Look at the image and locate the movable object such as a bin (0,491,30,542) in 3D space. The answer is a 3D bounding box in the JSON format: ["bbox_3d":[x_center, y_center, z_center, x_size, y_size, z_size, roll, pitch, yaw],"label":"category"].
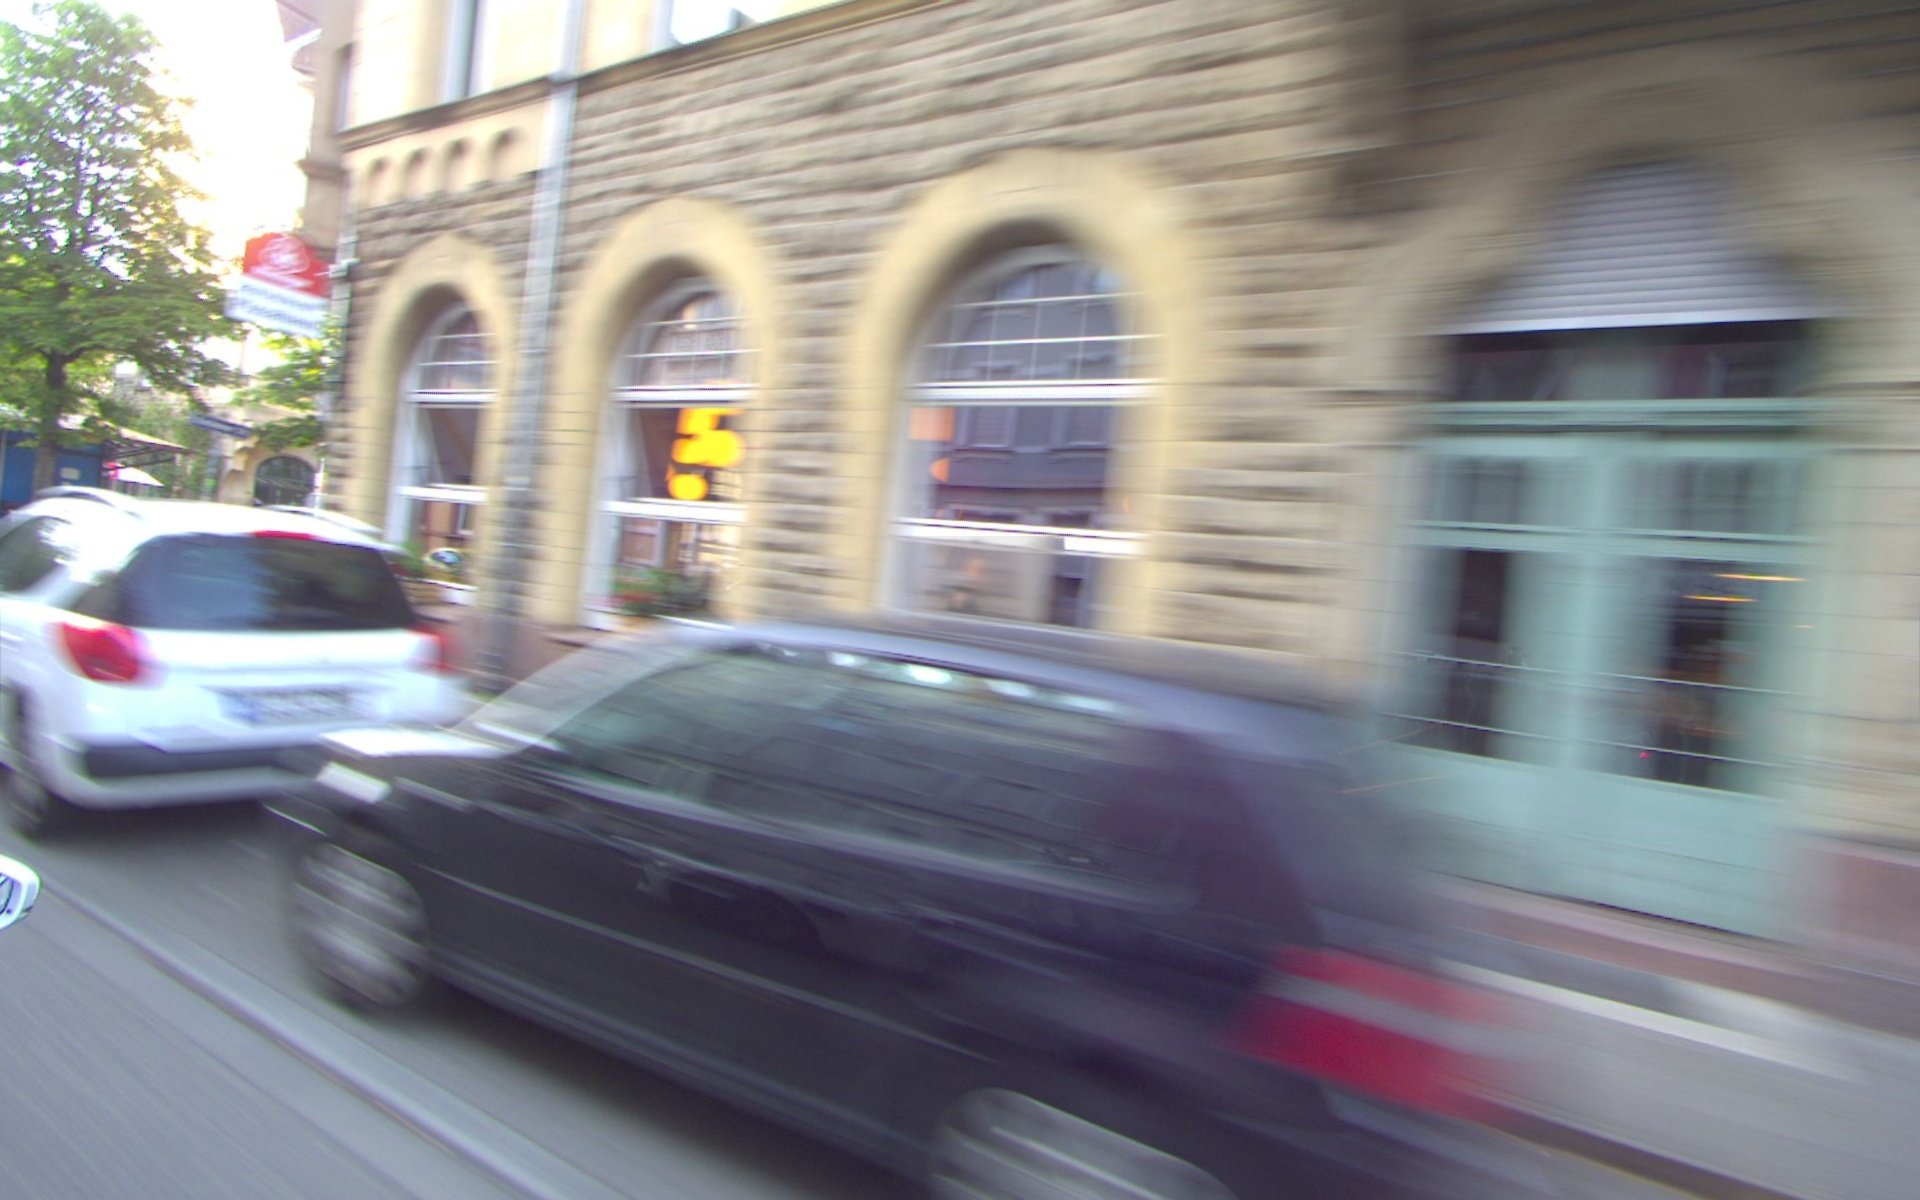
[{"bbox_3d":[-20.318,-1.785,21.487,0.479,1.014,0.480,7,1,32],"label":"movable object such as a bin"}]

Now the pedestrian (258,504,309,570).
[{"bbox_3d":[-20.247,-1.872,30.136,0.967,1.811,1.000,5,1,-22],"label":"pedestrian"}]

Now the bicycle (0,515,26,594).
[{"bbox_3d":[-12.989,-0.628,13.091,0.425,1.052,1.473,6,0,-10],"label":"bicycle"}]

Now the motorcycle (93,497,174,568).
[{"bbox_3d":[-19.833,-1.615,24.139,1.851,1.472,0.868,7,1,32],"label":"motorcycle"}]

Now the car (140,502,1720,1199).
[{"bbox_3d":[-0.525,0.653,3.342,4.477,1.505,1.765,7,3,28],"label":"car"}]

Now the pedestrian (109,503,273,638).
[{"bbox_3d":[-8.369,-0.317,11.030,0.827,1.302,1.415,5,1,-12],"label":"pedestrian"}]

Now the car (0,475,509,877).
[{"bbox_3d":[-4.715,0.127,5.859,4.393,1.505,1.762,7,3,35],"label":"car"}]

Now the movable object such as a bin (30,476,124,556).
[{"bbox_3d":[-19.682,-1.862,22.442,0.808,1.491,1.282,8,-3,40],"label":"movable object such as a bin"}]

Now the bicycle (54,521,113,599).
[{"bbox_3d":[-12.762,-0.595,14.631,1.683,0.991,0.445,7,1,44],"label":"bicycle"}]

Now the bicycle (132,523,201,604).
[{"bbox_3d":[-12.188,-0.574,15.431,1.810,1.080,0.510,7,1,44],"label":"bicycle"}]

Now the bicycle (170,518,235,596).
[{"bbox_3d":[-12.063,-0.700,15.998,1.810,1.083,0.473,7,1,44],"label":"bicycle"}]

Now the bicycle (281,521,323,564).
[{"bbox_3d":[-19.709,-1.708,30.170,0.627,1.203,1.904,5,1,-23],"label":"bicycle"}]
